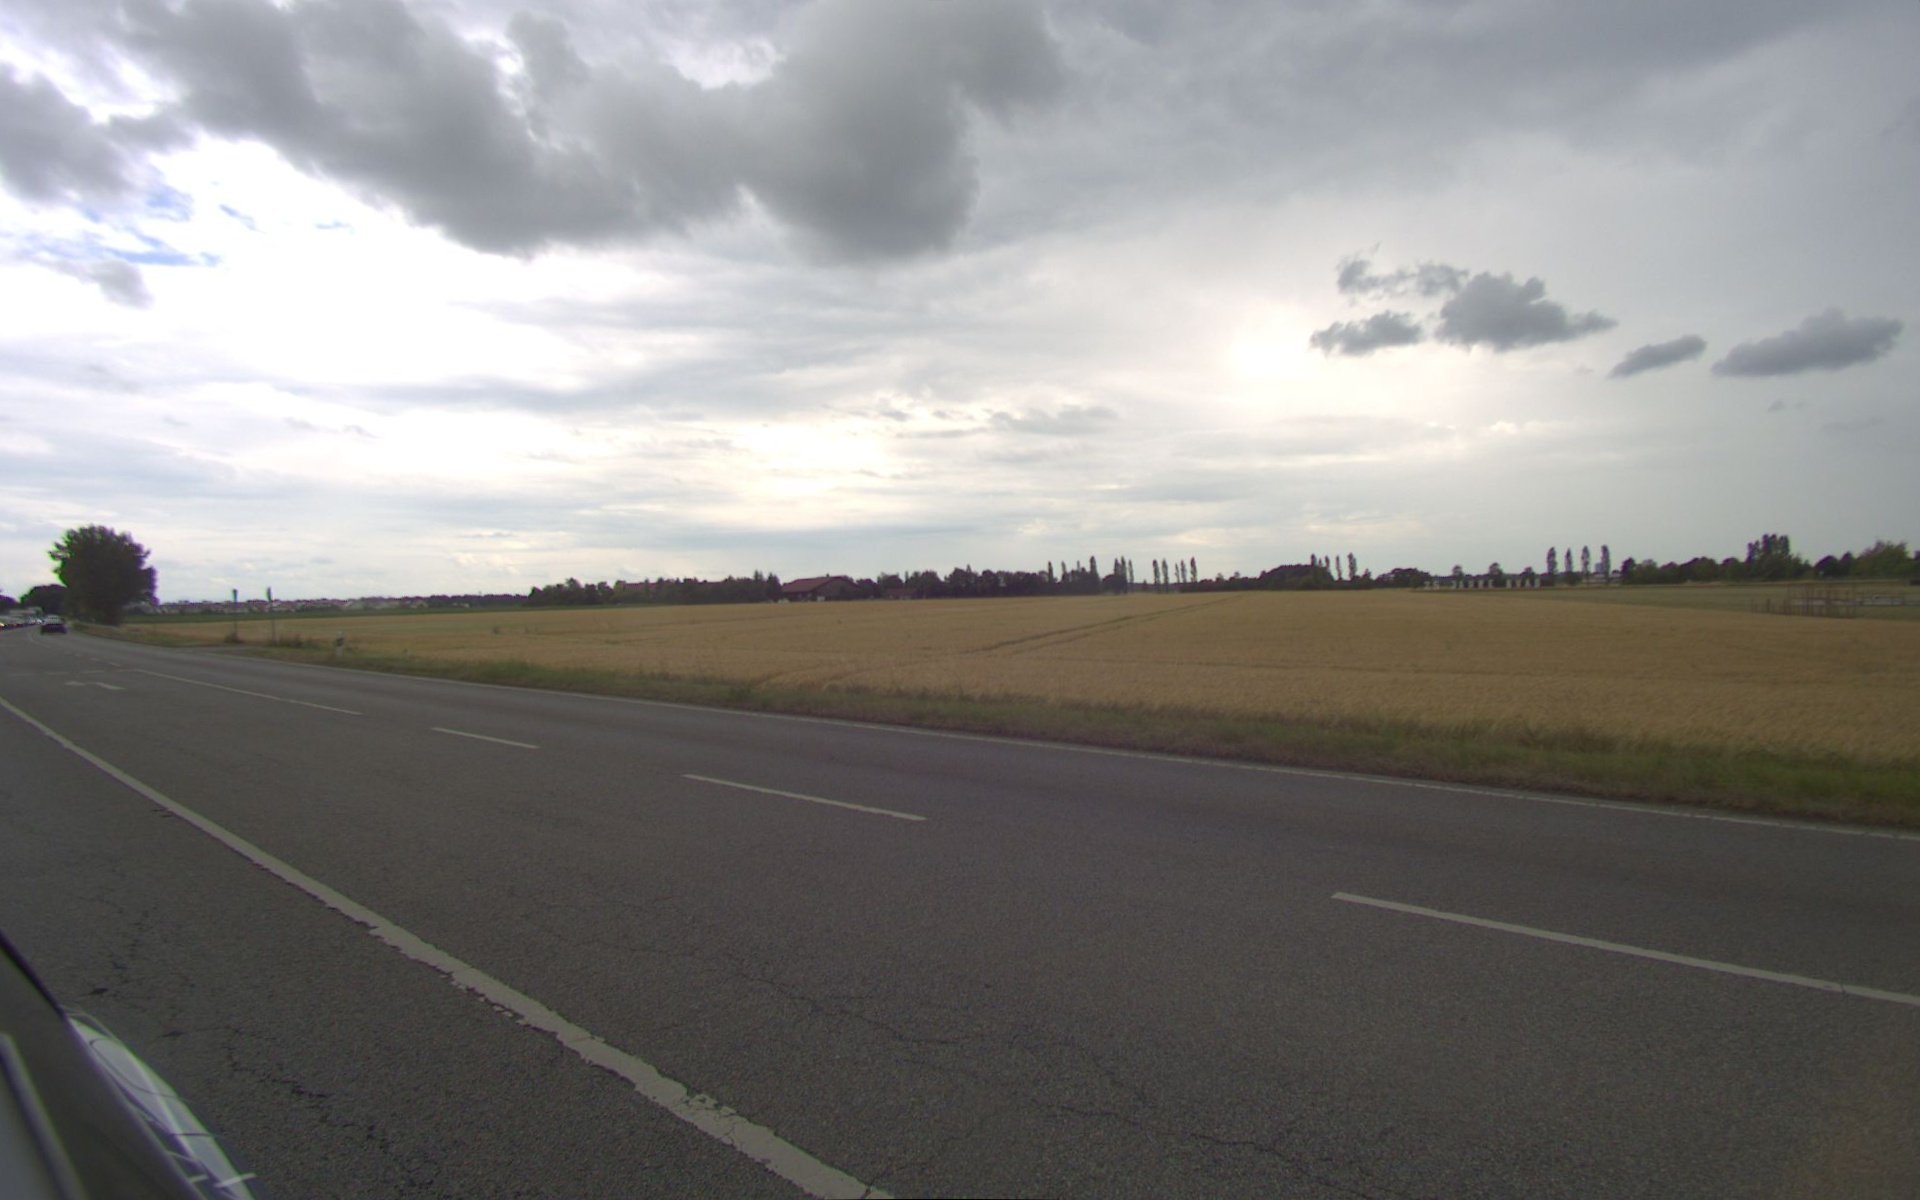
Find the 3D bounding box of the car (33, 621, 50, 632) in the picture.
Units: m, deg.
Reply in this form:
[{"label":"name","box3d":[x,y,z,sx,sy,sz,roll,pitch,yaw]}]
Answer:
[{"label":"car","box3d":[-147.501,4.267,162.542,1.923,1.707,4.453,0,-1,-41]}]

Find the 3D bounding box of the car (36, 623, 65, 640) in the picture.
[{"label":"car","box3d":[-82.383,2.852,91.740,1.804,1.421,4.430,-3,1,-41]}]

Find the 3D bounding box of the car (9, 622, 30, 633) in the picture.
[{"label":"car","box3d":[-135.882,3.965,146.218,1.766,1.551,4.146,0,-1,-37]}]

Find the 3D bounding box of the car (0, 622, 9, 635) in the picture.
[{"label":"car","box3d":[-117.569,3.510,123.423,1.924,1.595,4.145,0,-1,-37]}]

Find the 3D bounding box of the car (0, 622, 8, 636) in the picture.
[{"label":"car","box3d":[-112.392,3.355,117.933,1.766,1.595,4.144,0,-1,-39]}]

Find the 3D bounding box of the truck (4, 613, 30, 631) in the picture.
[{"label":"truck","box3d":[-152.439,3.580,163.671,2.284,2.786,7.689,-1,0,-37]}]
